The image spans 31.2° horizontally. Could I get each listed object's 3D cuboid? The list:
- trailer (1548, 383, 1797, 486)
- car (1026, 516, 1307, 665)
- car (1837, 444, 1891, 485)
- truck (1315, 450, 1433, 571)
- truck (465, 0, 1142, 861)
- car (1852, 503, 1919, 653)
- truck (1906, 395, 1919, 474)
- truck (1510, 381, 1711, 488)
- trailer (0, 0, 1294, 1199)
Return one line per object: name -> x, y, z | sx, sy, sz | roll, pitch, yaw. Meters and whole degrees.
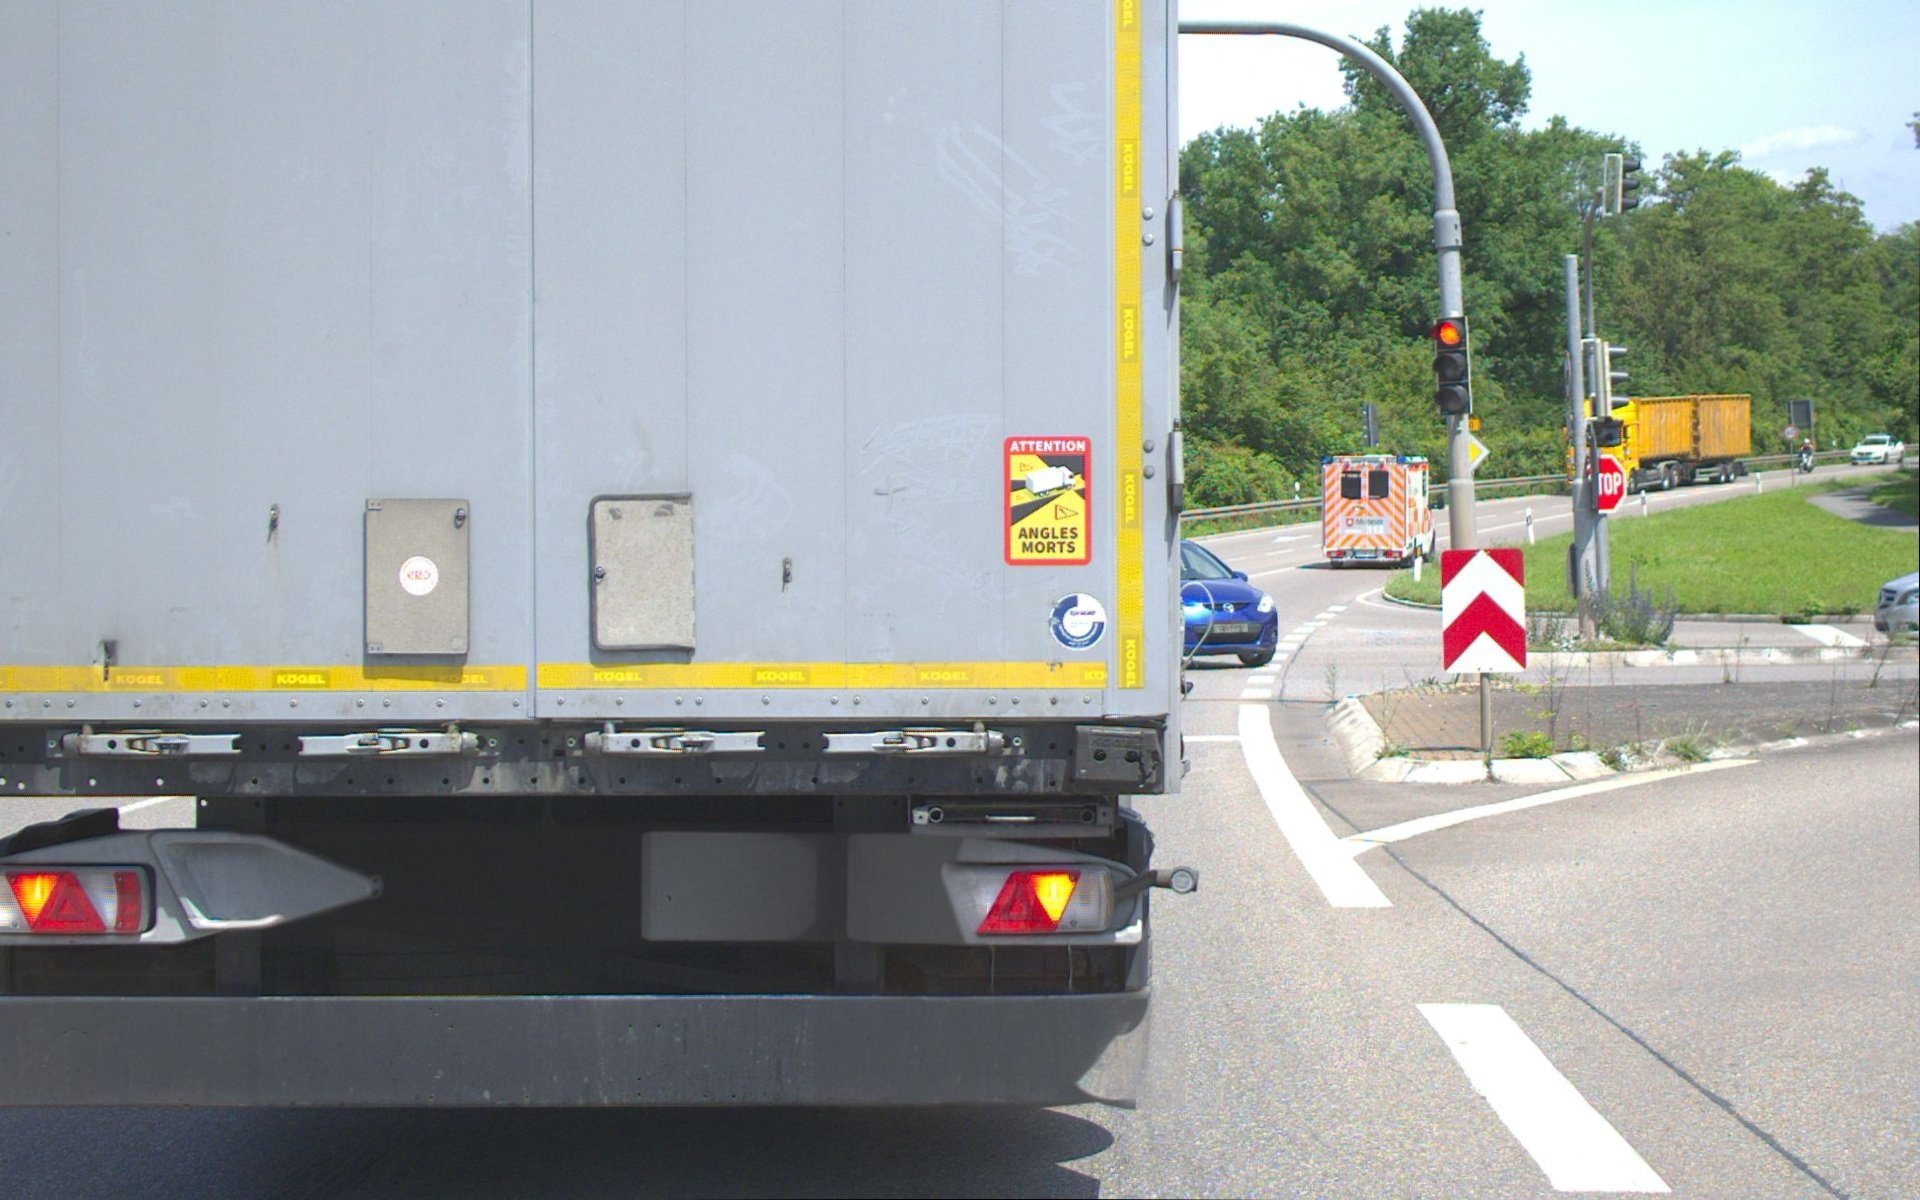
trailer -> 32.788, -7.463, 156.759 | 5.019, 4.347, 20.805 | 0, 2, 29
car -> 2.297, -0.073, 39.276 | 1.874, 1.607, 3.859 | 1, -1, -19
car -> 47.460, -7.099, 180.482 | 1.996, 2.007, 3.995 | 0, 1, 25
truck -> 10.167, -2.137, 83.998 | 2.495, 2.718, 6.027 | 0, -1, 10
truck -> -0.632, -0.895, 18.901 | 3.038, 4.020, 6.629 | 0, 1, 1
car -> 12.851, -0.227, 40.143 | 4.428, 1.712, 2.000 | 0, -1, 5
truck -> 52.914, -8.748, 181.534 | 3.184, 4.015, 11.728 | -1, 2, 28
truck -> 28.248, -7.109, 148.748 | 5.019, 4.347, 11.747 | 0, 2, 29
trailer -> -0.776, -0.790, 12.645 | 3.052, 4.020, 12.559 | 0, 1, 1
